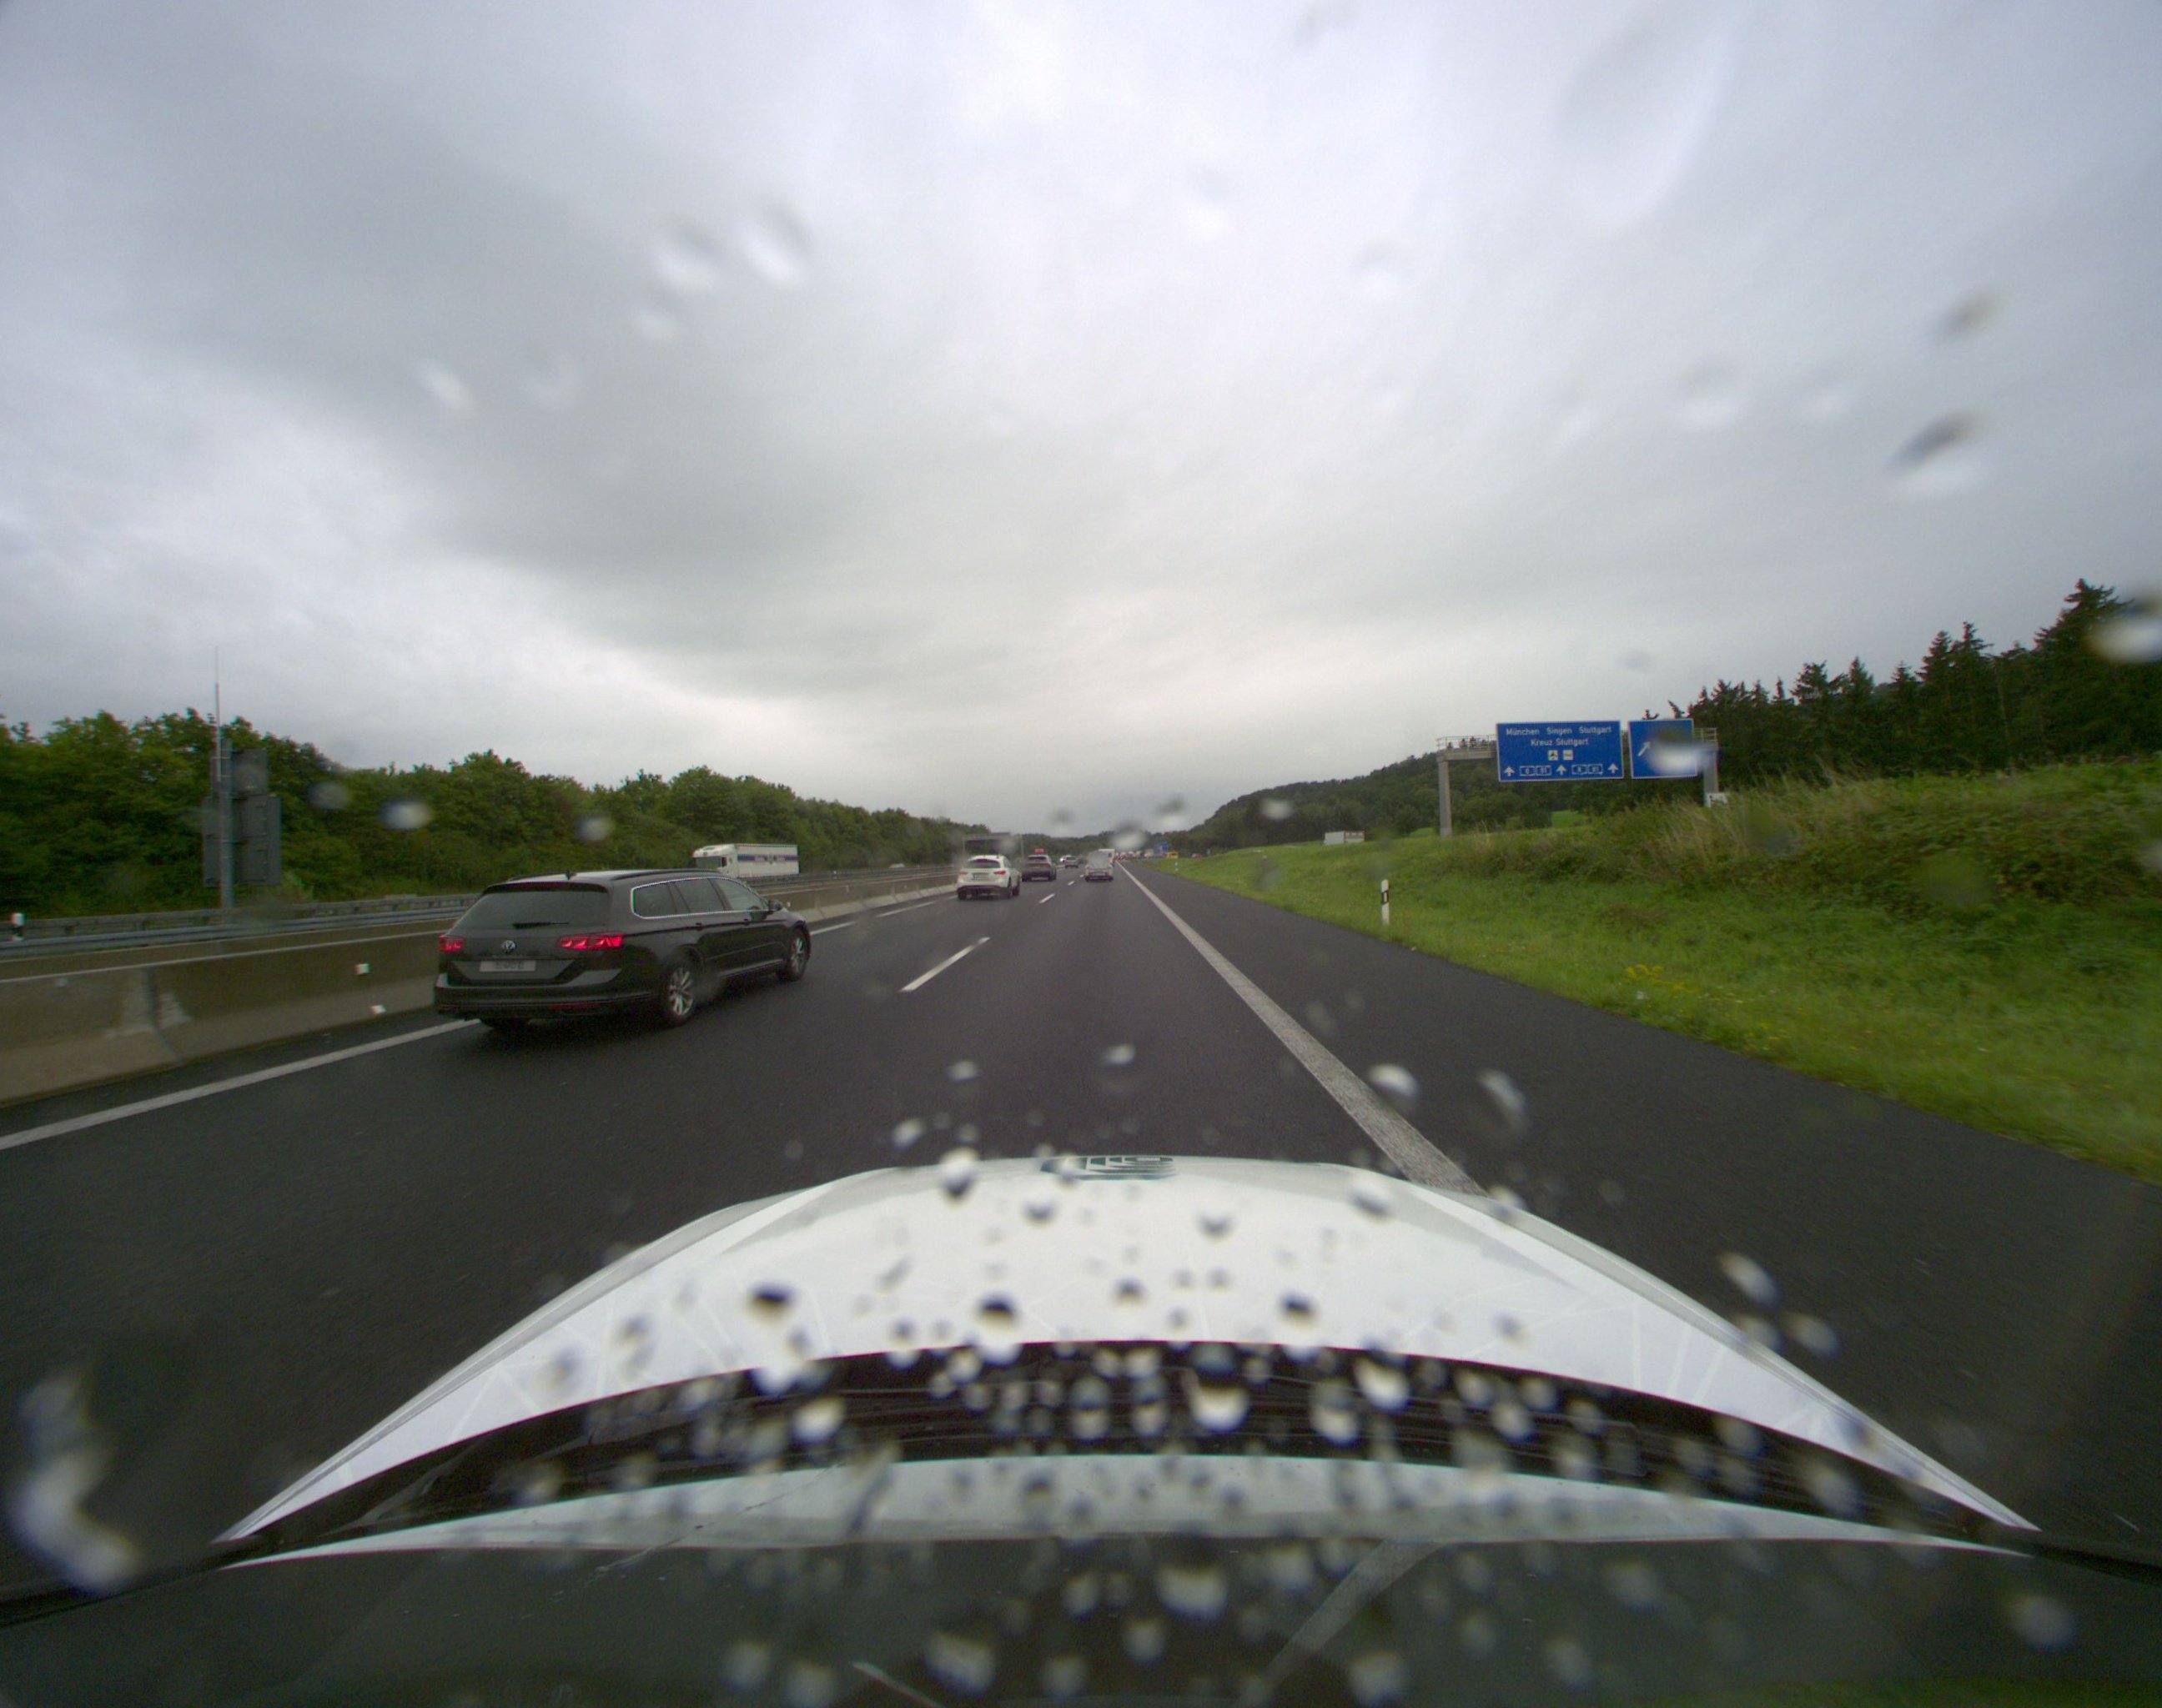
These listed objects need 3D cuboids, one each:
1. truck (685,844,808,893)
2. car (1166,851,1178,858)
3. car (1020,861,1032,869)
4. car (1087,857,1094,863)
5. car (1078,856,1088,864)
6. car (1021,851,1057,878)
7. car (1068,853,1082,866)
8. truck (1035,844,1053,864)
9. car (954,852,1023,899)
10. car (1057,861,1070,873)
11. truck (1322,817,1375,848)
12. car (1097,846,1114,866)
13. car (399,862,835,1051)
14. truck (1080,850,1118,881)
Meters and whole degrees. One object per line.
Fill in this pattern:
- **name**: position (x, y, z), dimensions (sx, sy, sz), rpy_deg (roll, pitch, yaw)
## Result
- **truck**: position (-29.559, 1.170, 73.447), dimensions (3.165, 3.808, 17.145), rpy_deg (-3, 0, 3)
- **car**: position (19.608, 0.107, 175.831), dimensions (1.989, 1.552, 3.995), rpy_deg (0, 0, -3)
- **car**: position (-10.588, 2.138, 157.087), dimensions (1.718, 1.552, 4.583), rpy_deg (-1, 0, 1)
- **car**: position (2.353, 1.442, 199.688), dimensions (1.639, 1.574, 4.002), rpy_deg (0, 0, 2)
- **car**: position (0.404, 1.184, 158.935), dimensions (1.639, 1.574, 4.002), rpy_deg (0, 0, 2)
- **car**: position (-2.741, 0.664, 54.281), dimensions (1.968, 1.703, 4.804), rpy_deg (-1, 0, 2)
- **car**: position (-0.844, 0.724, 112.254), dimensions (1.732, 1.794, 4.002), rpy_deg (-1, 0, 2)
- **truck**: position (-9.066, -0.060, 201.886), dimensions (3.386, 4.733, 10.493), rpy_deg (-1, 0, 3)
- **car**: position (-3.494, 0.765, 31.566), dimensions (2.041, 1.670, 4.542), rpy_deg (-1, 0, 1)
- **car**: position (-2.670, 1.971, 125.793), dimensions (1.812, 1.662, 4.019), rpy_deg (-2, 0, 2)
- **truck**: position (34.071, -2.621, 104.005), dimensions (3.815, 3.659, 8.266), rpy_deg (0, 0, -2)
- **car**: position (3.593, 0.299, 117.882), dimensions (2.323, 2.725, 6.542), rpy_deg (-1, 0, 2)
- **car**: position (-4.454, 0.848, 8.921), dimensions (1.780, 1.459, 4.807), rpy_deg (-1, 0, 4)
- **truck**: position (1.155, 0.693, 52.341), dimensions (2.234, 1.839, 6.586), rpy_deg (-1, 0, 1)
